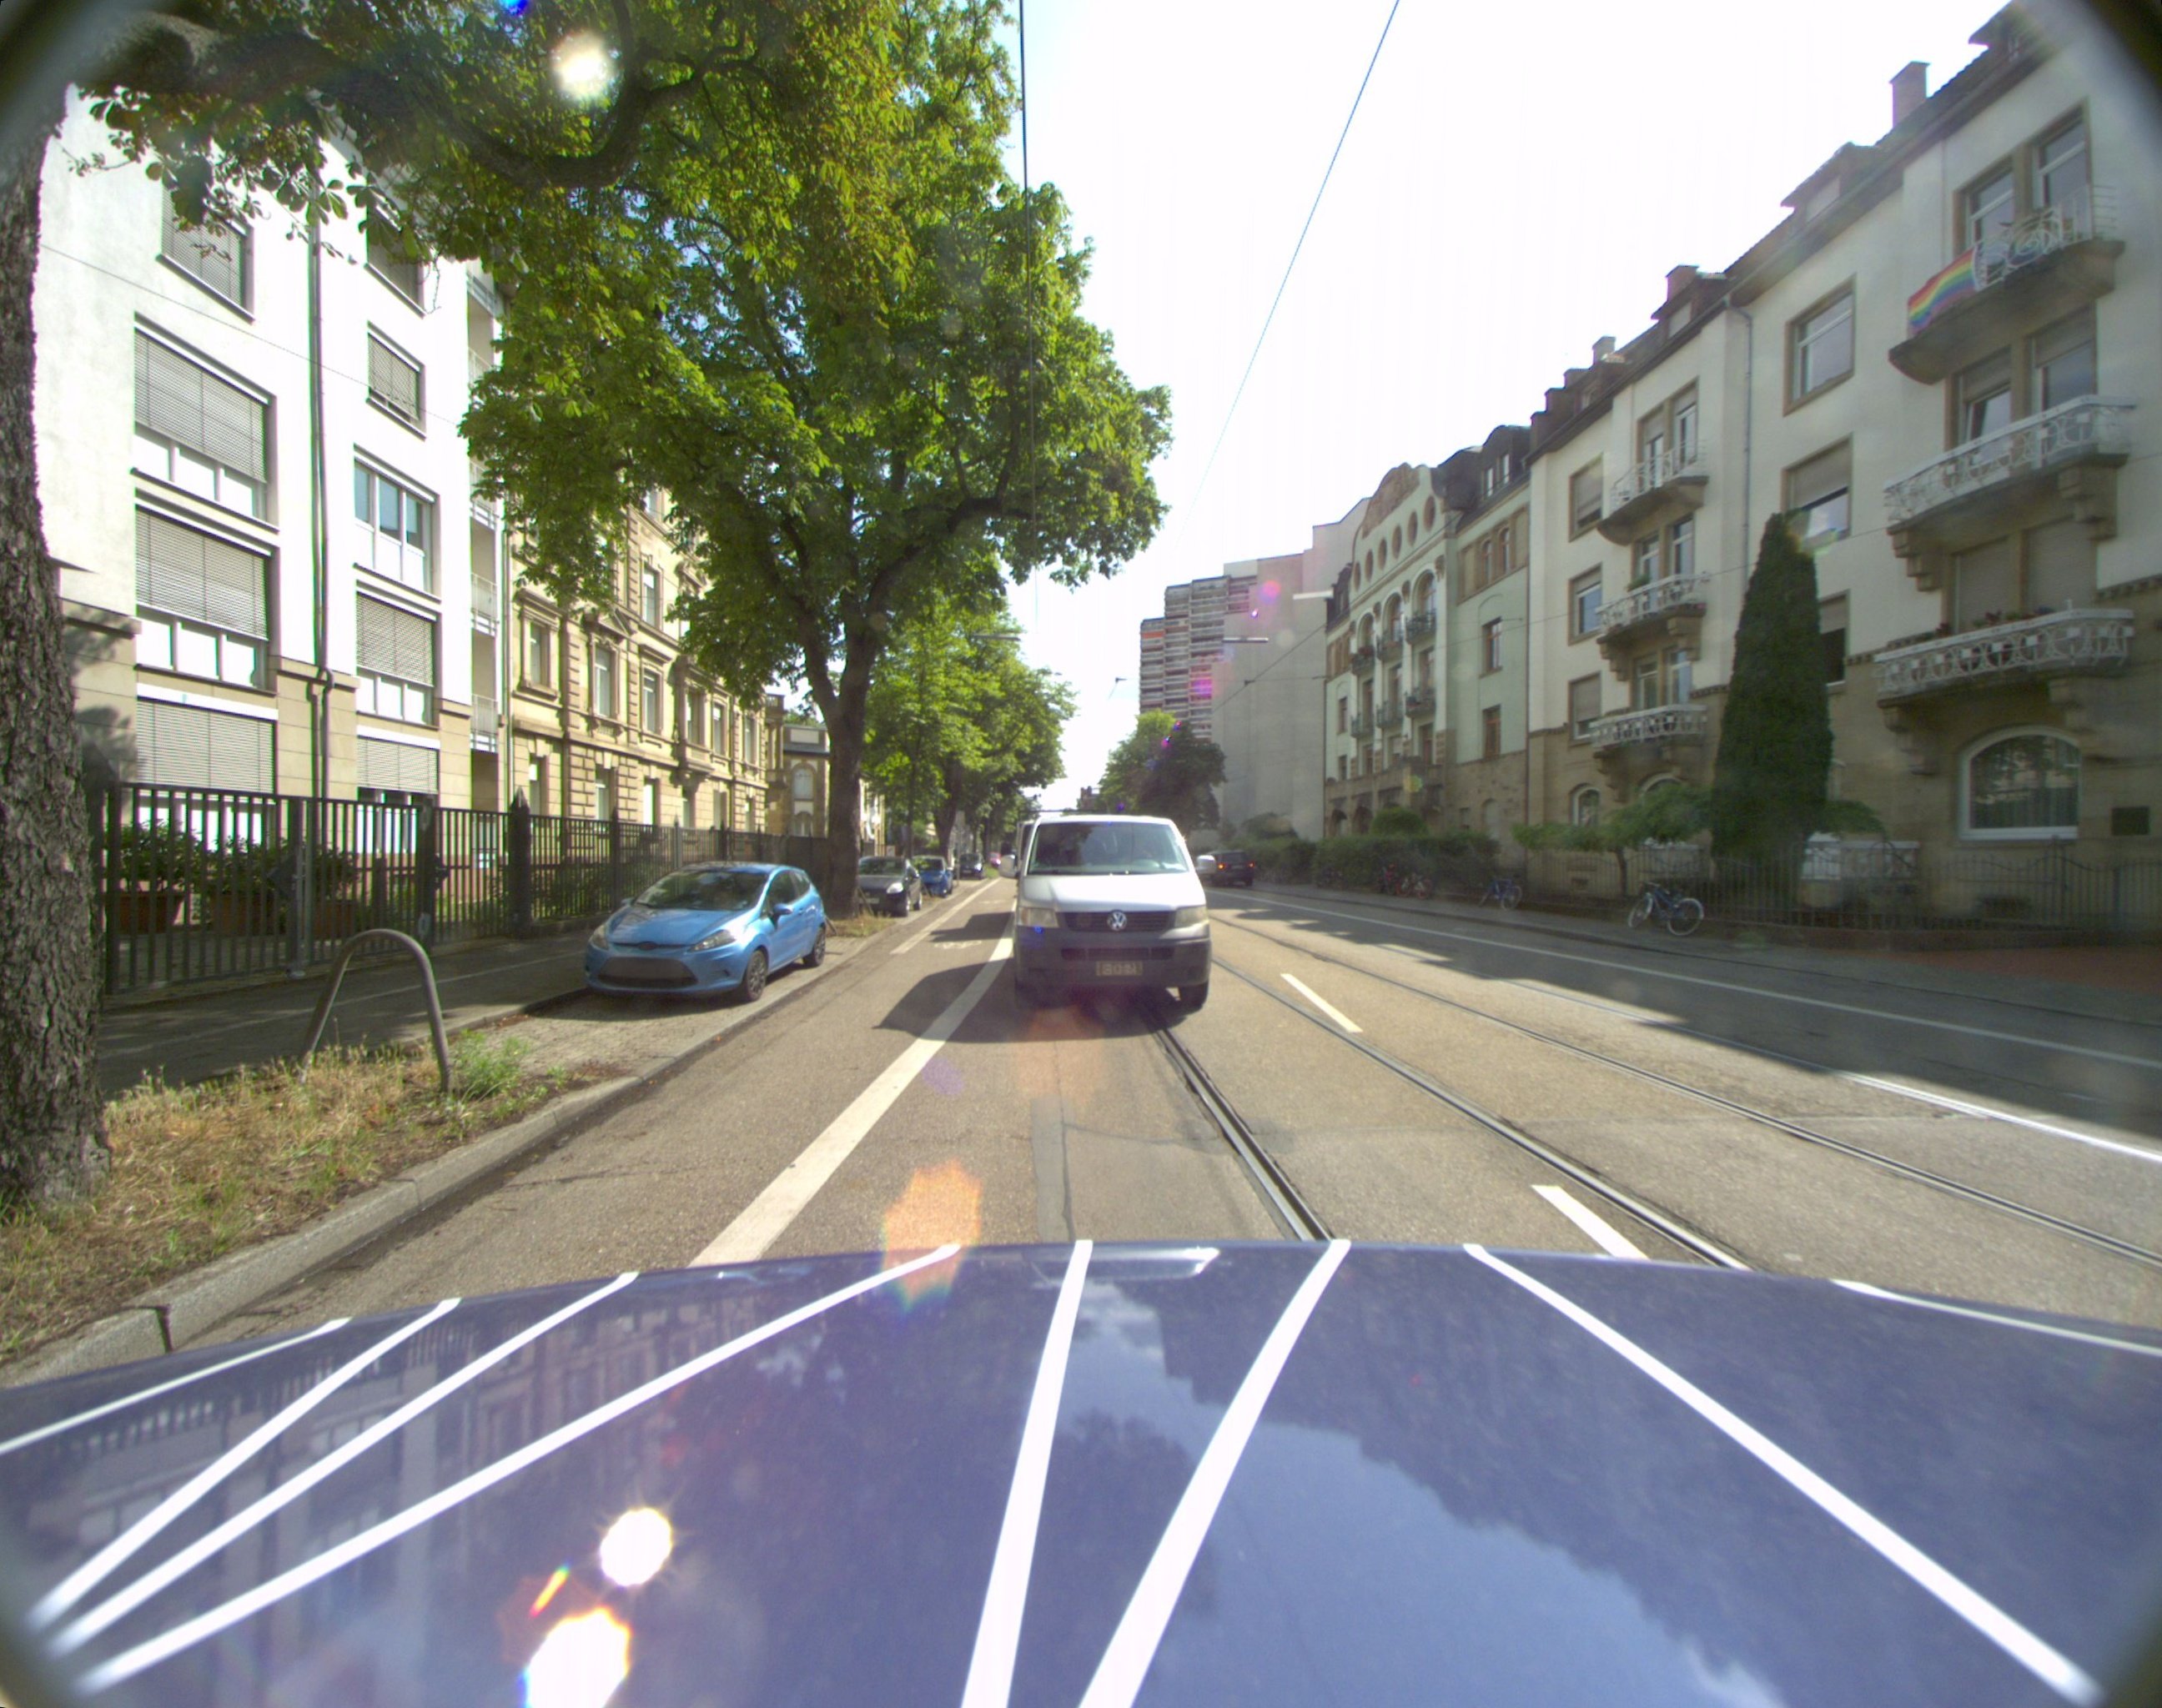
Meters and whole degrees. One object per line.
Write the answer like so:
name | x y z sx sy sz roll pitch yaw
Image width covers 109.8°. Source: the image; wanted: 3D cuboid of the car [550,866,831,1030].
car | -4.351 0.941 9.145 1.642 1.447 3.697 2 0 -4

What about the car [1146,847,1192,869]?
car | 7.943 0.347 68.973 3.997 1.914 1.830 0 1 -1

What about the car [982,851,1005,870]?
car | -7.912 0.590 69.243 1.774 1.563 4.198 2 0 -3

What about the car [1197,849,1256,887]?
car | 6.954 0.636 36.741 1.796 1.701 4.329 0 0 -4

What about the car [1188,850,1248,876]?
car | 8.949 0.577 49.822 3.631 1.630 1.609 0 1 -3

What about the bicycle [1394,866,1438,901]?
bicycle | 10.529 0.913 23.954 0.587 0.980 1.872 0 1 1

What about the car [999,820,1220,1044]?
car | 0.258 0.640 8.792 1.831 1.856 4.845 -1 1 0

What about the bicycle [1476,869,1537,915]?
bicycle | 10.873 0.947 19.468 0.539 1.024 1.872 0 1 1

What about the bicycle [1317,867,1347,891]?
bicycle | 9.905 0.972 30.047 0.587 0.792 1.872 -2 1 1

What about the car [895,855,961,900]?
car | -5.464 0.791 27.542 1.724 1.443 3.924 2 0 -3

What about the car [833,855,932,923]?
car | -4.962 0.823 19.430 1.644 1.499 3.621 2 0 -2

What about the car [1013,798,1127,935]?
car | -0.440 0.216 17.215 2.168 2.572 5.660 0 1 -5

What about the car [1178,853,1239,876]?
car | 8.827 0.724 52.750 3.890 1.527 1.634 0 1 -1

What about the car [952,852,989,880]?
car | -6.727 0.683 46.409 1.774 1.522 4.198 2 0 -3

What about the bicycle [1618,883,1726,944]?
bicycle | 11.038 1.080 14.290 0.524 0.901 2.066 0 2 4
